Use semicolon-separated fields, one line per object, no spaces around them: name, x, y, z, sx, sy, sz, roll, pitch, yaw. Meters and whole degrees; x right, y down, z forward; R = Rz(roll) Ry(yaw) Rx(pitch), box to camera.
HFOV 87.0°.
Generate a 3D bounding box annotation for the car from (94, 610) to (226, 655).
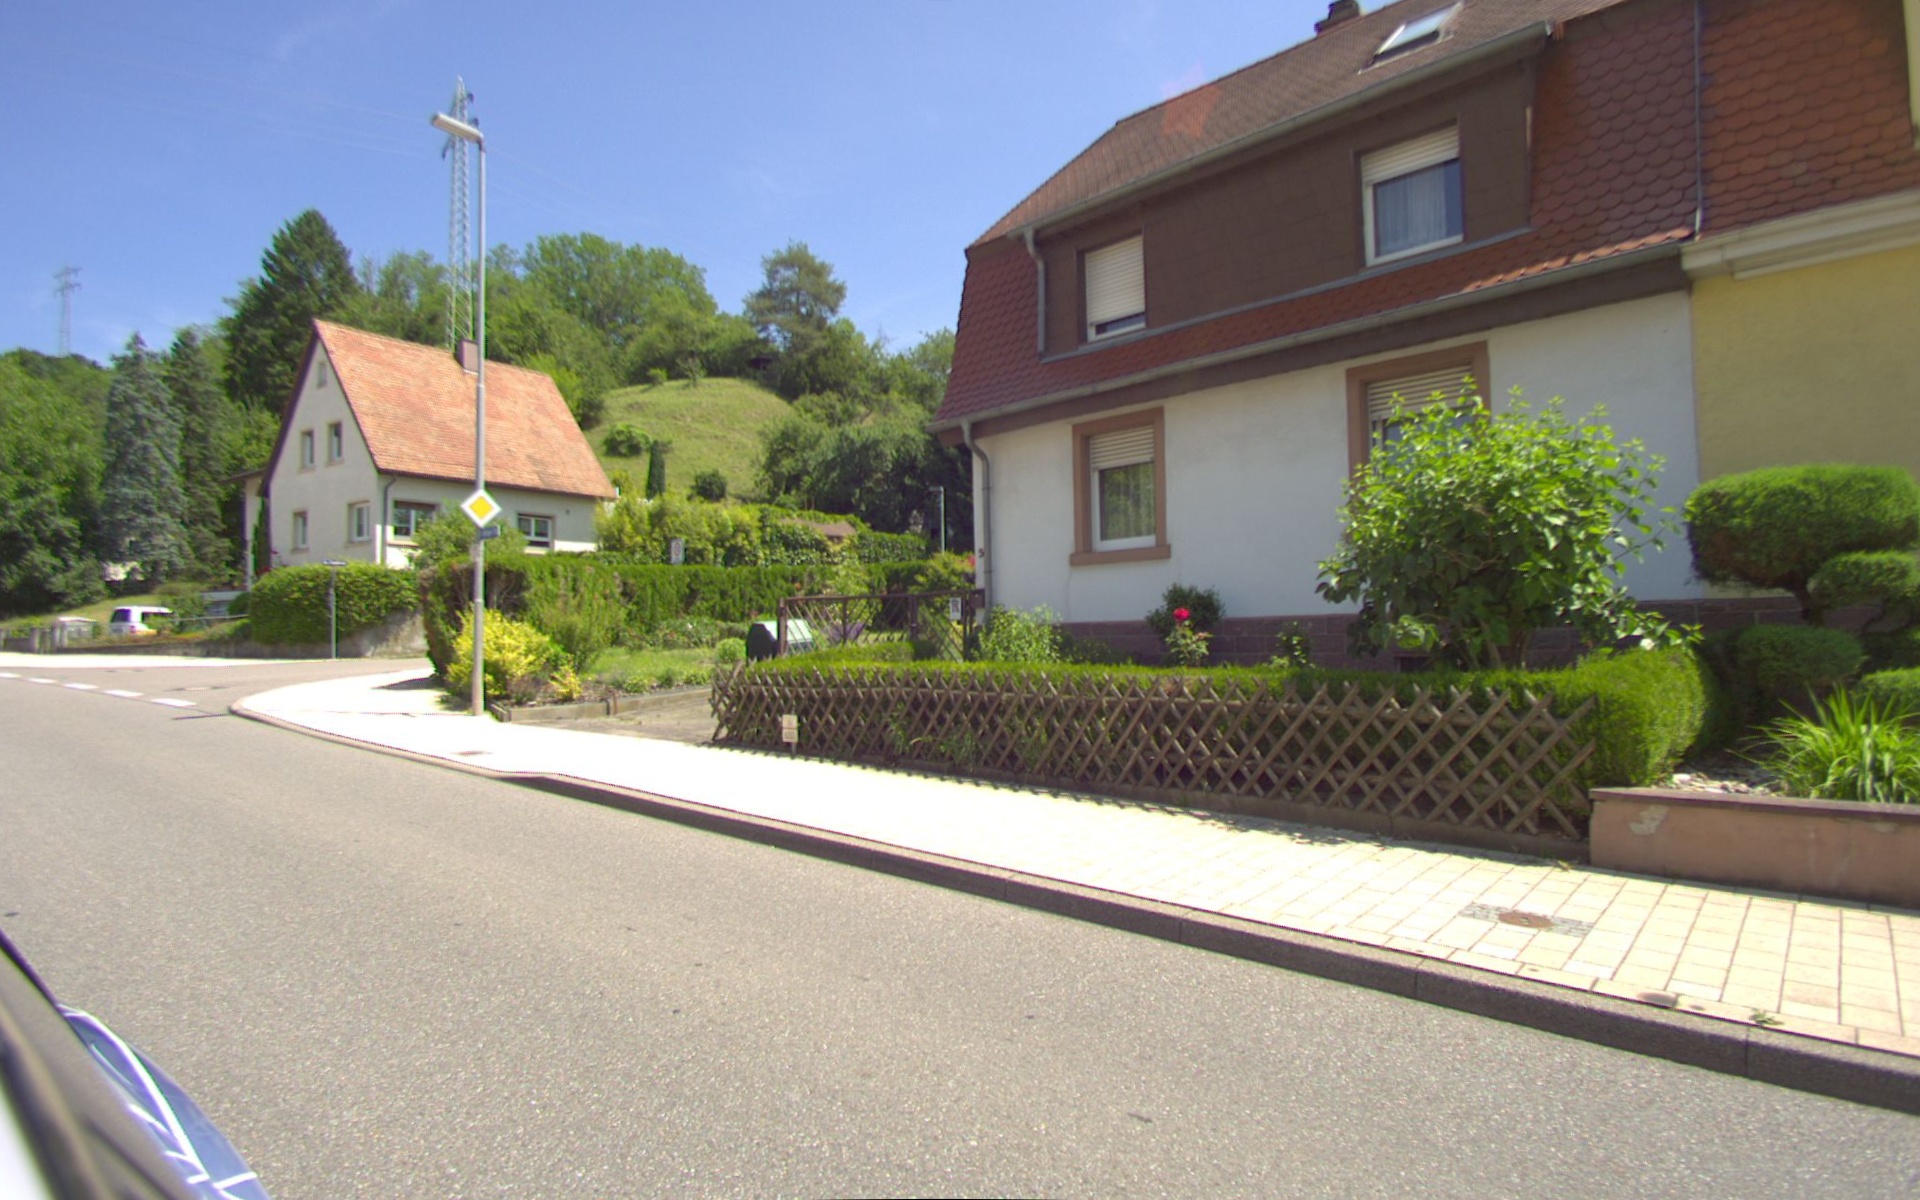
car;-33.195;1.324;42.122;1.797;1.803;3.974;-1;-1;19
